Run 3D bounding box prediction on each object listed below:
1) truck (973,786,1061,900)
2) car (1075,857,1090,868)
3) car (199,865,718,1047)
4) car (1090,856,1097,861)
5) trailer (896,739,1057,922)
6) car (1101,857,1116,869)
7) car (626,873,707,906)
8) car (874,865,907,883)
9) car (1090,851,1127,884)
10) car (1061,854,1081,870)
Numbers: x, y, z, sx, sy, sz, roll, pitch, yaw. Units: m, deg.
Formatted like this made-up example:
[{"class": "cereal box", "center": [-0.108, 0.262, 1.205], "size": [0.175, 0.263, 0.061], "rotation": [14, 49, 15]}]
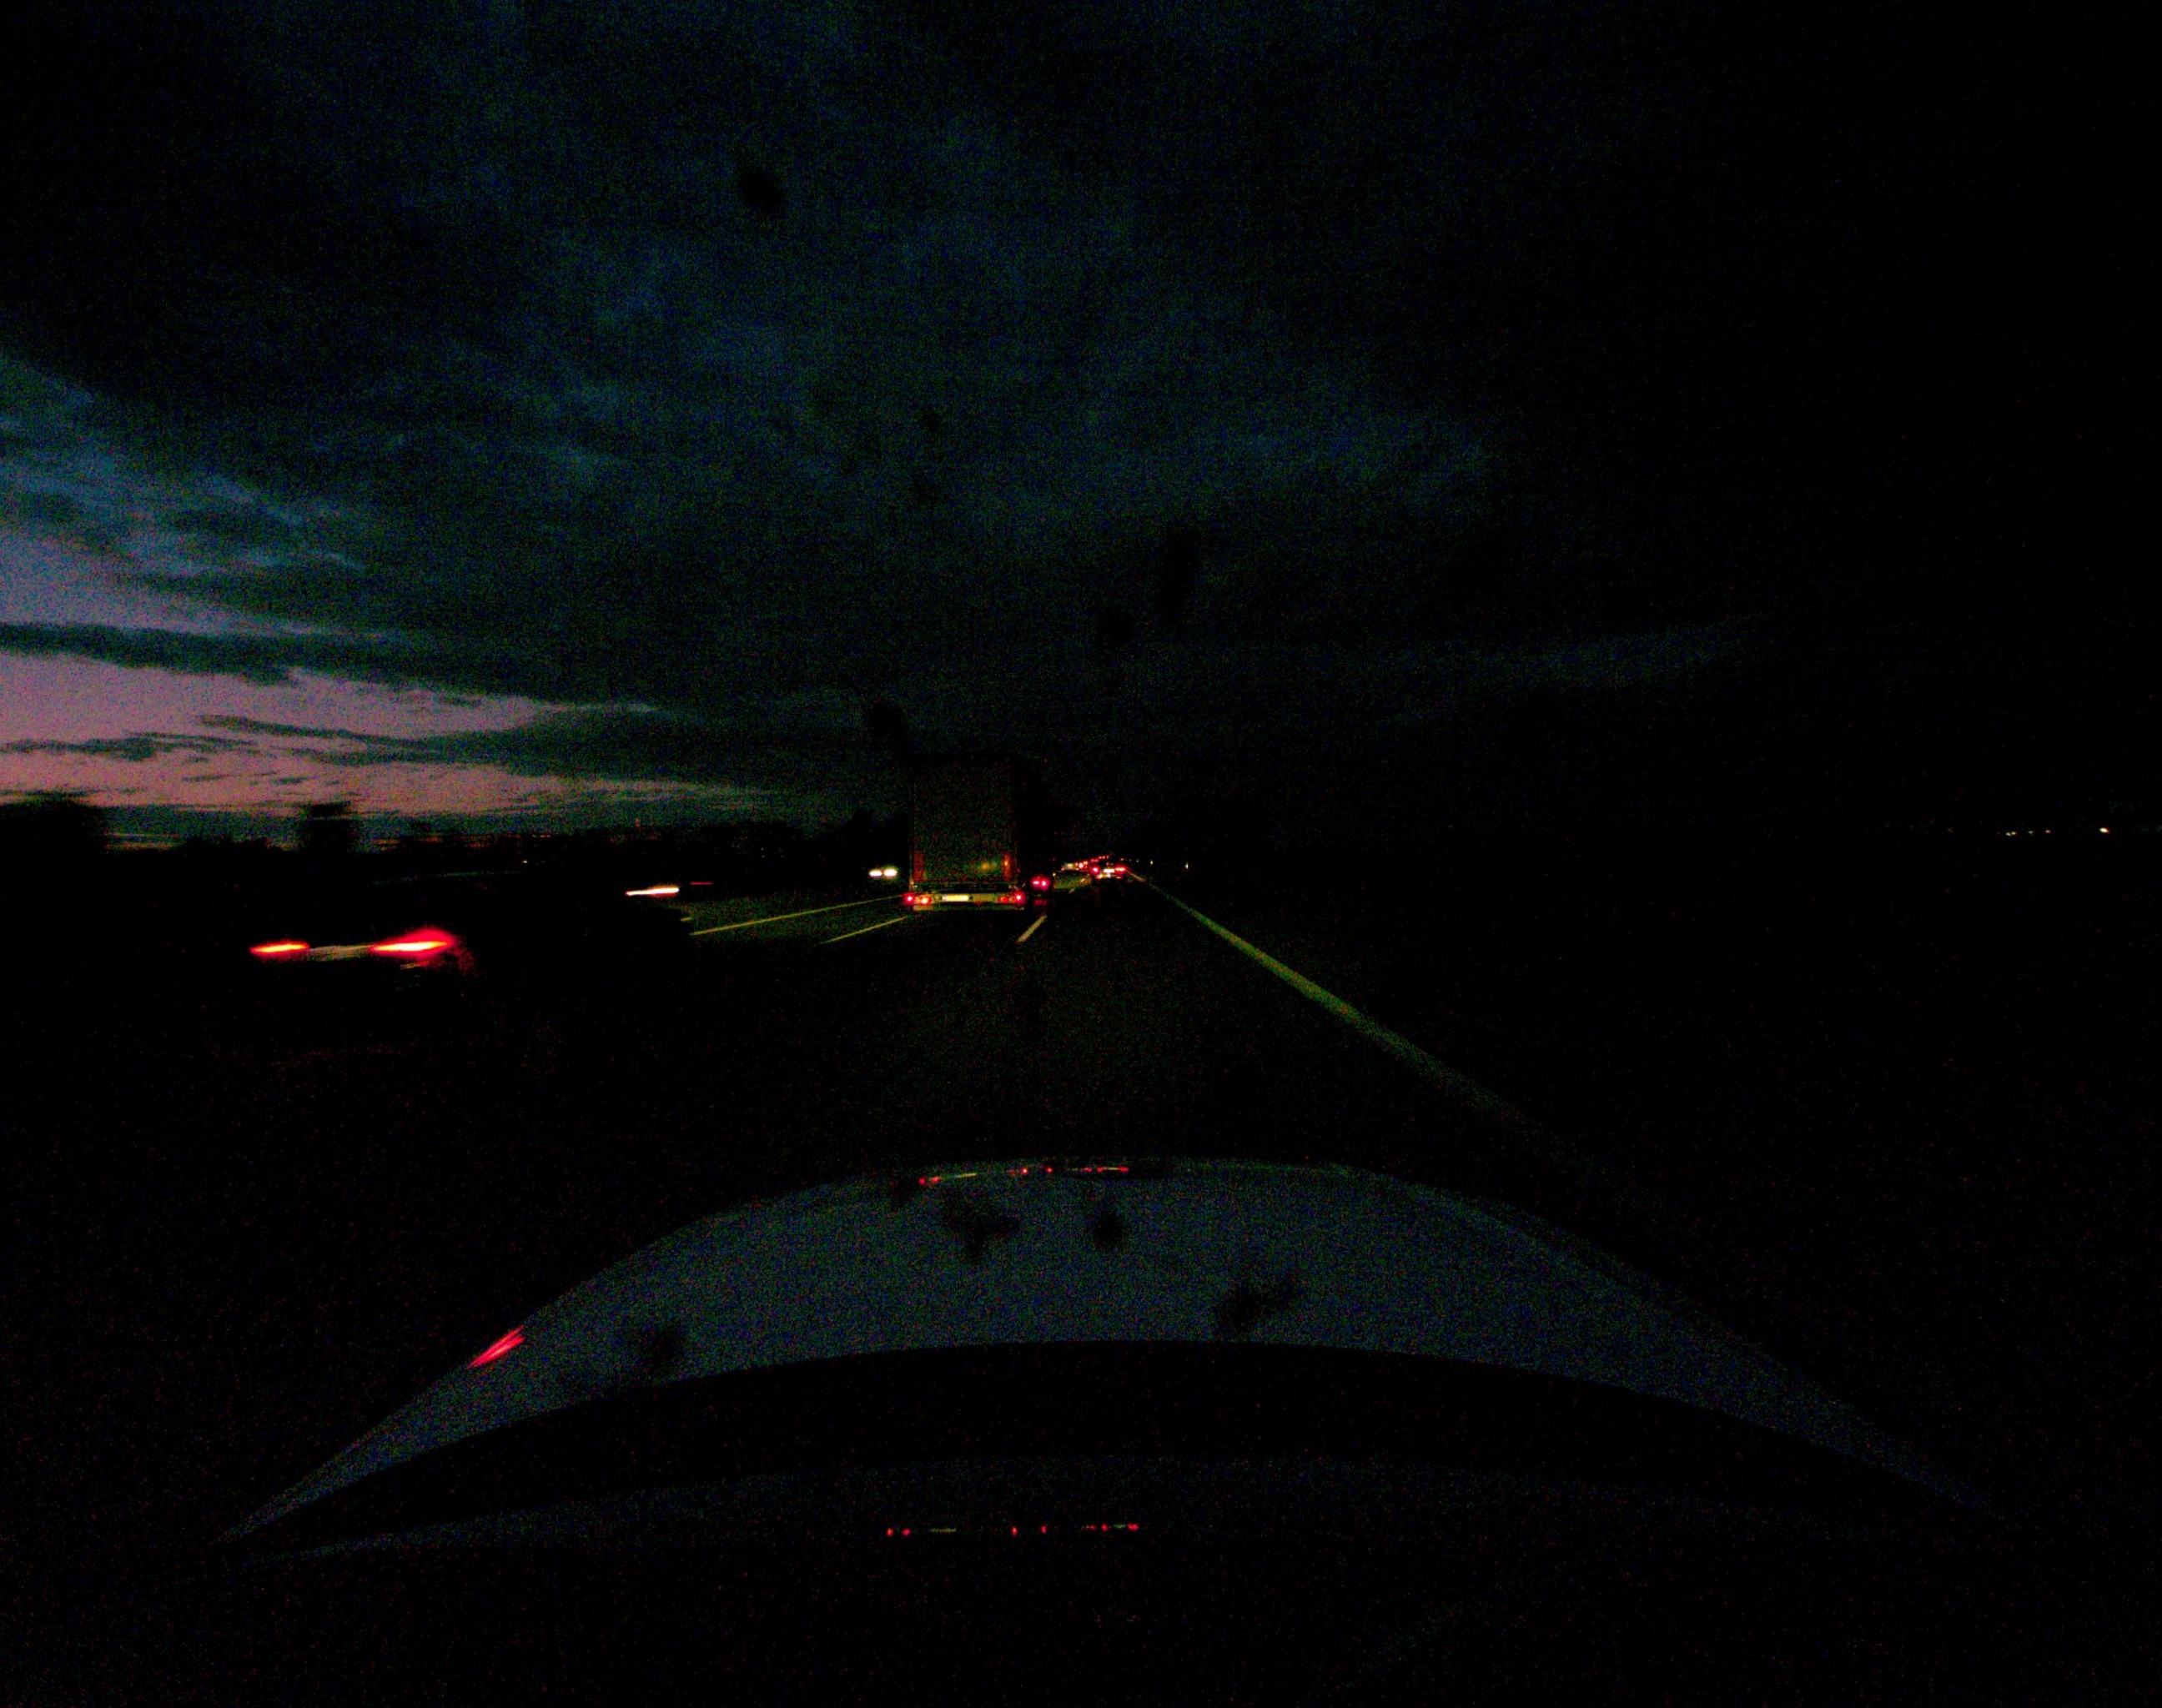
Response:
[{"class": "truck", "center": [-2.403, -0.368, 32.613], "size": [2.767, 4.093, 6.104], "rotation": [-2, -1, 1]}, {"class": "car", "center": [0.204, 1.089, 103.722], "size": [1.716, 1.471, 4.727], "rotation": [0, -1, 2]}, {"class": "car", "center": [-6.429, 0.897, 9.530], "size": [1.807, 1.437, 5.396], "rotation": [0, 0, 2]}, {"class": "car", "center": [3.451, 1.245, 224.966], "size": [1.873, 1.552, 4.001], "rotation": [0, -1, 1]}, {"class": "trailer", "center": [-2.578, -0.455, 25.705], "size": [2.784, 4.085, 14.528], "rotation": [-2, -1, 1]}, {"class": "car", "center": [3.637, 1.156, 108.104], "size": [1.873, 1.552, 4.001], "rotation": [0, -1, 1]}, {"class": "car", "center": [-21.296, 1.799, 42.096], "size": [1.737, 1.535, 4.522], "rotation": [0, -1, 2]}, {"class": "car", "center": [-16.762, 1.757, 71.777], "size": [1.737, 1.499, 4.522], "rotation": [0, -1, 2]}, {"class": "car", "center": [1.466, 0.719, 43.668], "size": [1.873, 1.643, 4.001], "rotation": [0, -1, 2]}, {"class": "car", "center": [-0.969, 0.822, 82.106], "size": [1.737, 1.525, 4.416], "rotation": [0, -1, 2]}]
